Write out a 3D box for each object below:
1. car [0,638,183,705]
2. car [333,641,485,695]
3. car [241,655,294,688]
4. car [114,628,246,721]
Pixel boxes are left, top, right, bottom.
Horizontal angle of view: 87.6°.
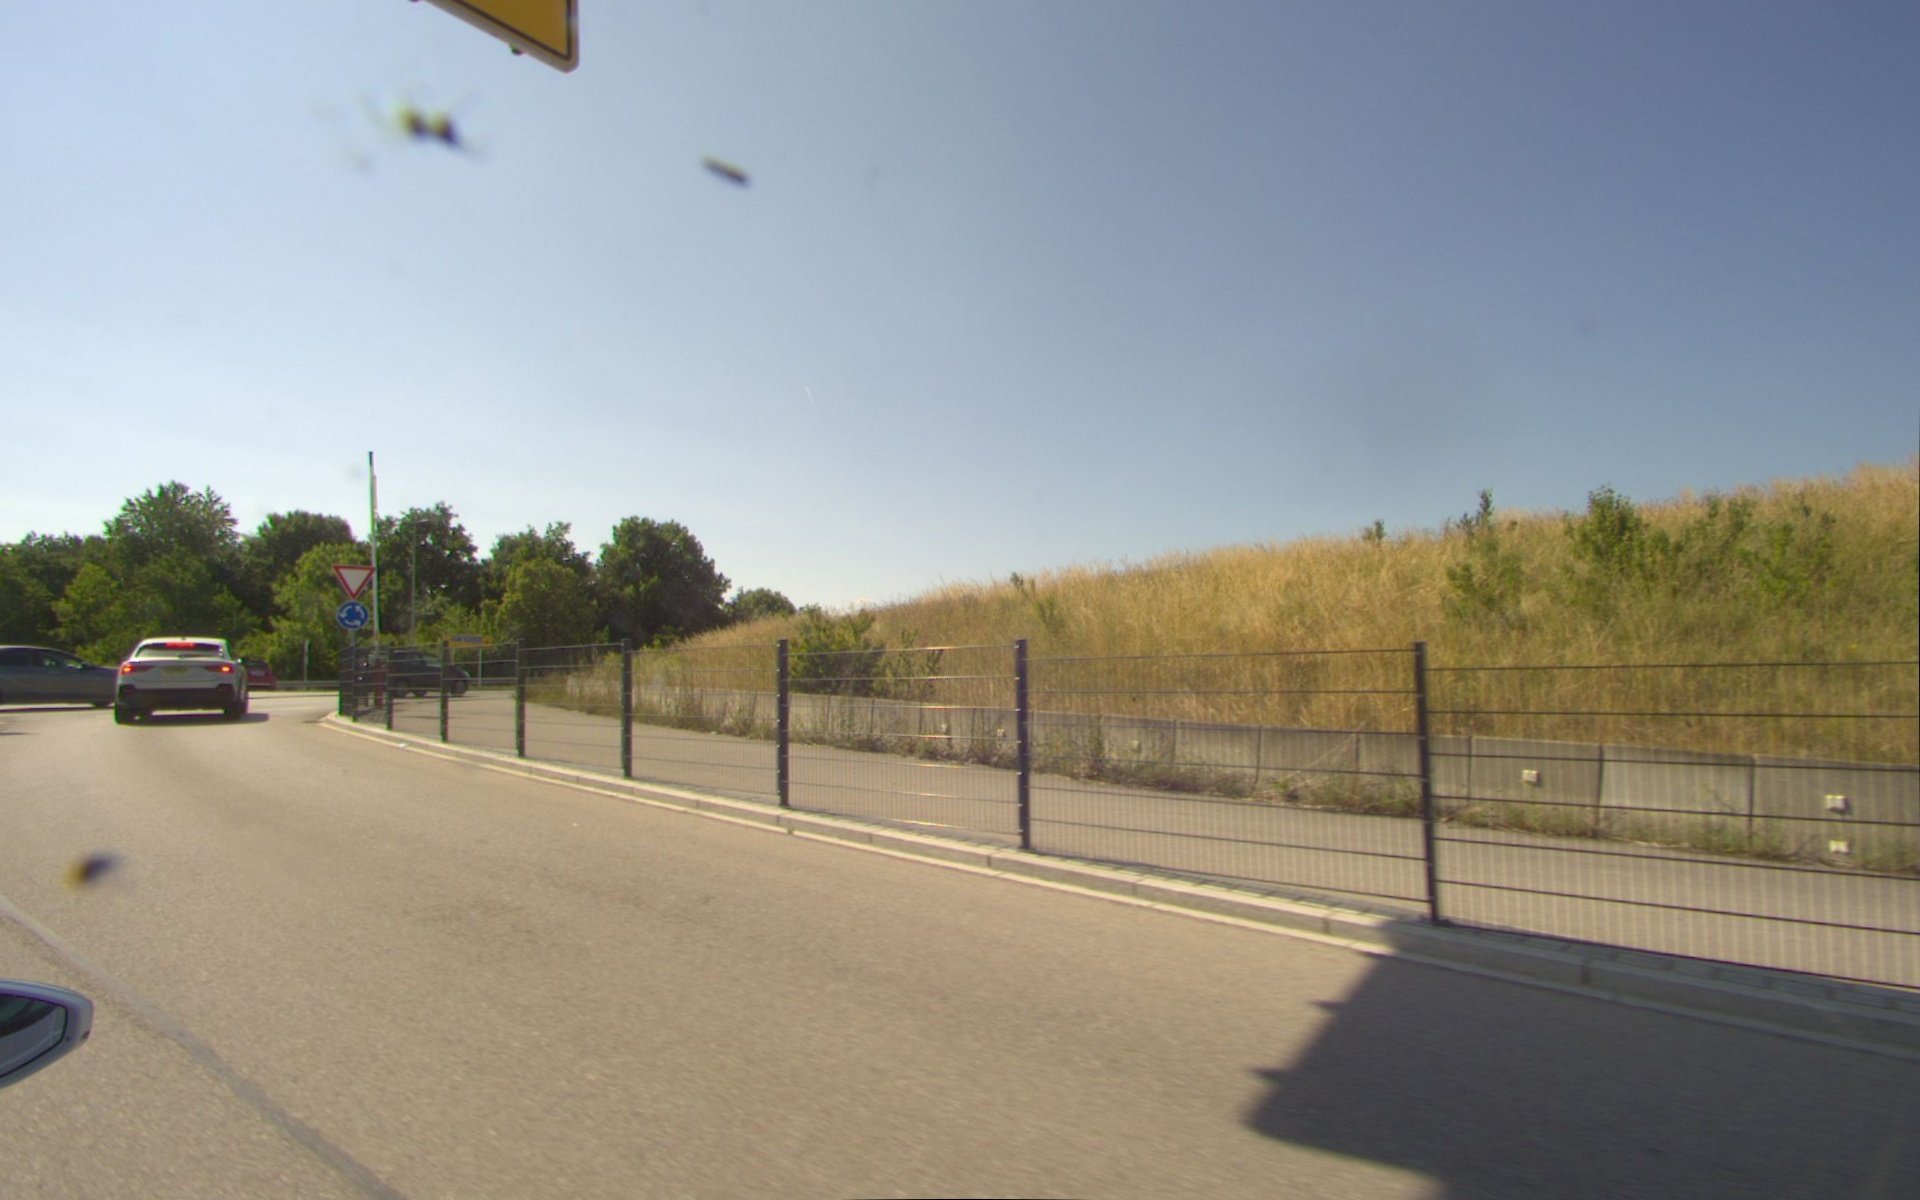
[{"bbox_3d":[-21.314,1.648,23.188,1.969,1.469,4.859,-1,-4,28],"label":"car"},{"bbox_3d":[-17.940,2.244,32.763,1.793,1.637,3.944,-2,-5,33],"label":"car"},{"bbox_3d":[-31.269,3.216,45.179,1.609,1.422,3.787,4,-5,-40],"label":"car"},{"bbox_3d":[-15.208,1.421,19.636,1.825,1.615,4.295,2,-4,-37],"label":"car"}]
